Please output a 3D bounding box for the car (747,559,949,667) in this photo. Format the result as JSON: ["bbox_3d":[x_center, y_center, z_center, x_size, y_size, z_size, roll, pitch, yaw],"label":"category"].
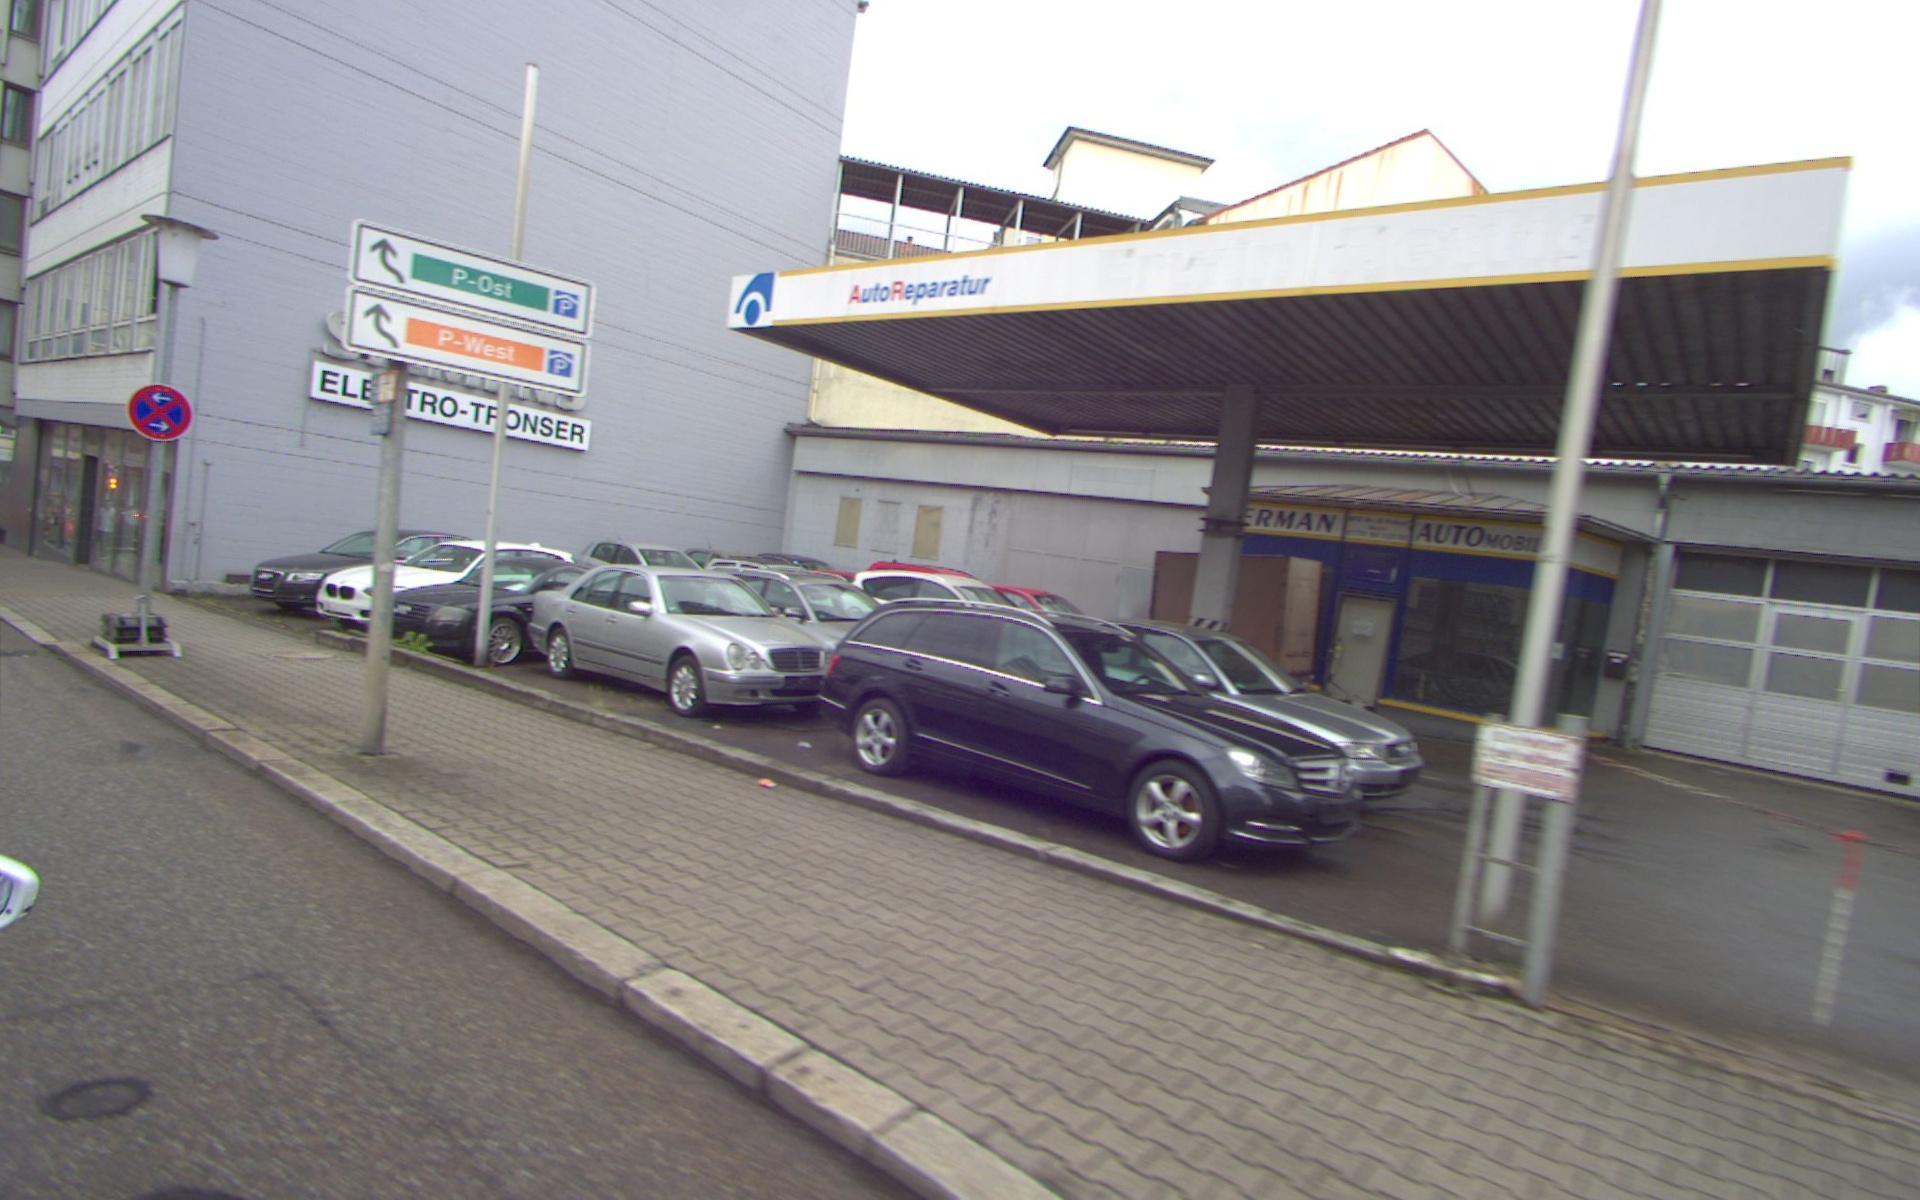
[{"bbox_3d":[-2.334,0.234,20.334,3.894,1.752,1.785,6,1,41],"label":"car"}]

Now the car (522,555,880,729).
[{"bbox_3d":[-3.167,0.373,11.651,4.553,1.434,1.783,6,1,43],"label":"car"}]

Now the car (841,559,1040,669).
[{"bbox_3d":[-0.491,0.274,21.826,4.048,1.935,1.785,6,1,41],"label":"car"}]

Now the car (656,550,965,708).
[{"bbox_3d":[-2.225,0.283,14.071,4.427,1.567,1.782,8,6,41],"label":"car"}]

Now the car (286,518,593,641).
[{"bbox_3d":[-7.983,-0.235,15.856,1.732,1.549,3.996,6,0,24],"label":"car"}]

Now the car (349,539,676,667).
[{"bbox_3d":[-6.051,0.101,14.113,1.642,1.418,3.995,6,0,26],"label":"car"}]

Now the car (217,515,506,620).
[{"bbox_3d":[-10.094,-0.549,17.308,1.766,1.471,3.991,6,4,23],"label":"car"}]

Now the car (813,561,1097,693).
[{"bbox_3d":[-0.193,0.386,16.123,4.357,1.620,1.785,6,1,41],"label":"car"}]

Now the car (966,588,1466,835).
[{"bbox_3d":[2.349,0.911,9.996,4.356,1.531,1.785,8,2,41],"label":"car"}]

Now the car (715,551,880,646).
[{"bbox_3d":[-4.030,-0.063,24.670,3.894,1.935,1.785,6,1,41],"label":"car"}]

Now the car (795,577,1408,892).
[{"bbox_3d":[0.866,0.799,7.855,4.375,1.531,1.785,6,1,41],"label":"car"}]

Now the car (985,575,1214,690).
[{"bbox_3d":[2.606,0.597,19.313,3.894,1.752,1.785,6,1,41],"label":"car"}]

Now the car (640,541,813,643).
[{"bbox_3d":[-5.386,-0.222,22.980,3.894,1.923,1.785,6,1,41],"label":"car"}]

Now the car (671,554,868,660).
[{"bbox_3d":[-3.594,0.087,18.698,3.469,1.622,1.783,6,3,41],"label":"car"}]

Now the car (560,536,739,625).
[{"bbox_3d":[-6.609,-0.431,21.228,3.894,1.543,1.783,6,3,41],"label":"car"}]

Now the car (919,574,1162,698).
[{"bbox_3d":[1.362,0.599,17.918,3.894,1.752,1.785,6,1,41],"label":"car"}]
